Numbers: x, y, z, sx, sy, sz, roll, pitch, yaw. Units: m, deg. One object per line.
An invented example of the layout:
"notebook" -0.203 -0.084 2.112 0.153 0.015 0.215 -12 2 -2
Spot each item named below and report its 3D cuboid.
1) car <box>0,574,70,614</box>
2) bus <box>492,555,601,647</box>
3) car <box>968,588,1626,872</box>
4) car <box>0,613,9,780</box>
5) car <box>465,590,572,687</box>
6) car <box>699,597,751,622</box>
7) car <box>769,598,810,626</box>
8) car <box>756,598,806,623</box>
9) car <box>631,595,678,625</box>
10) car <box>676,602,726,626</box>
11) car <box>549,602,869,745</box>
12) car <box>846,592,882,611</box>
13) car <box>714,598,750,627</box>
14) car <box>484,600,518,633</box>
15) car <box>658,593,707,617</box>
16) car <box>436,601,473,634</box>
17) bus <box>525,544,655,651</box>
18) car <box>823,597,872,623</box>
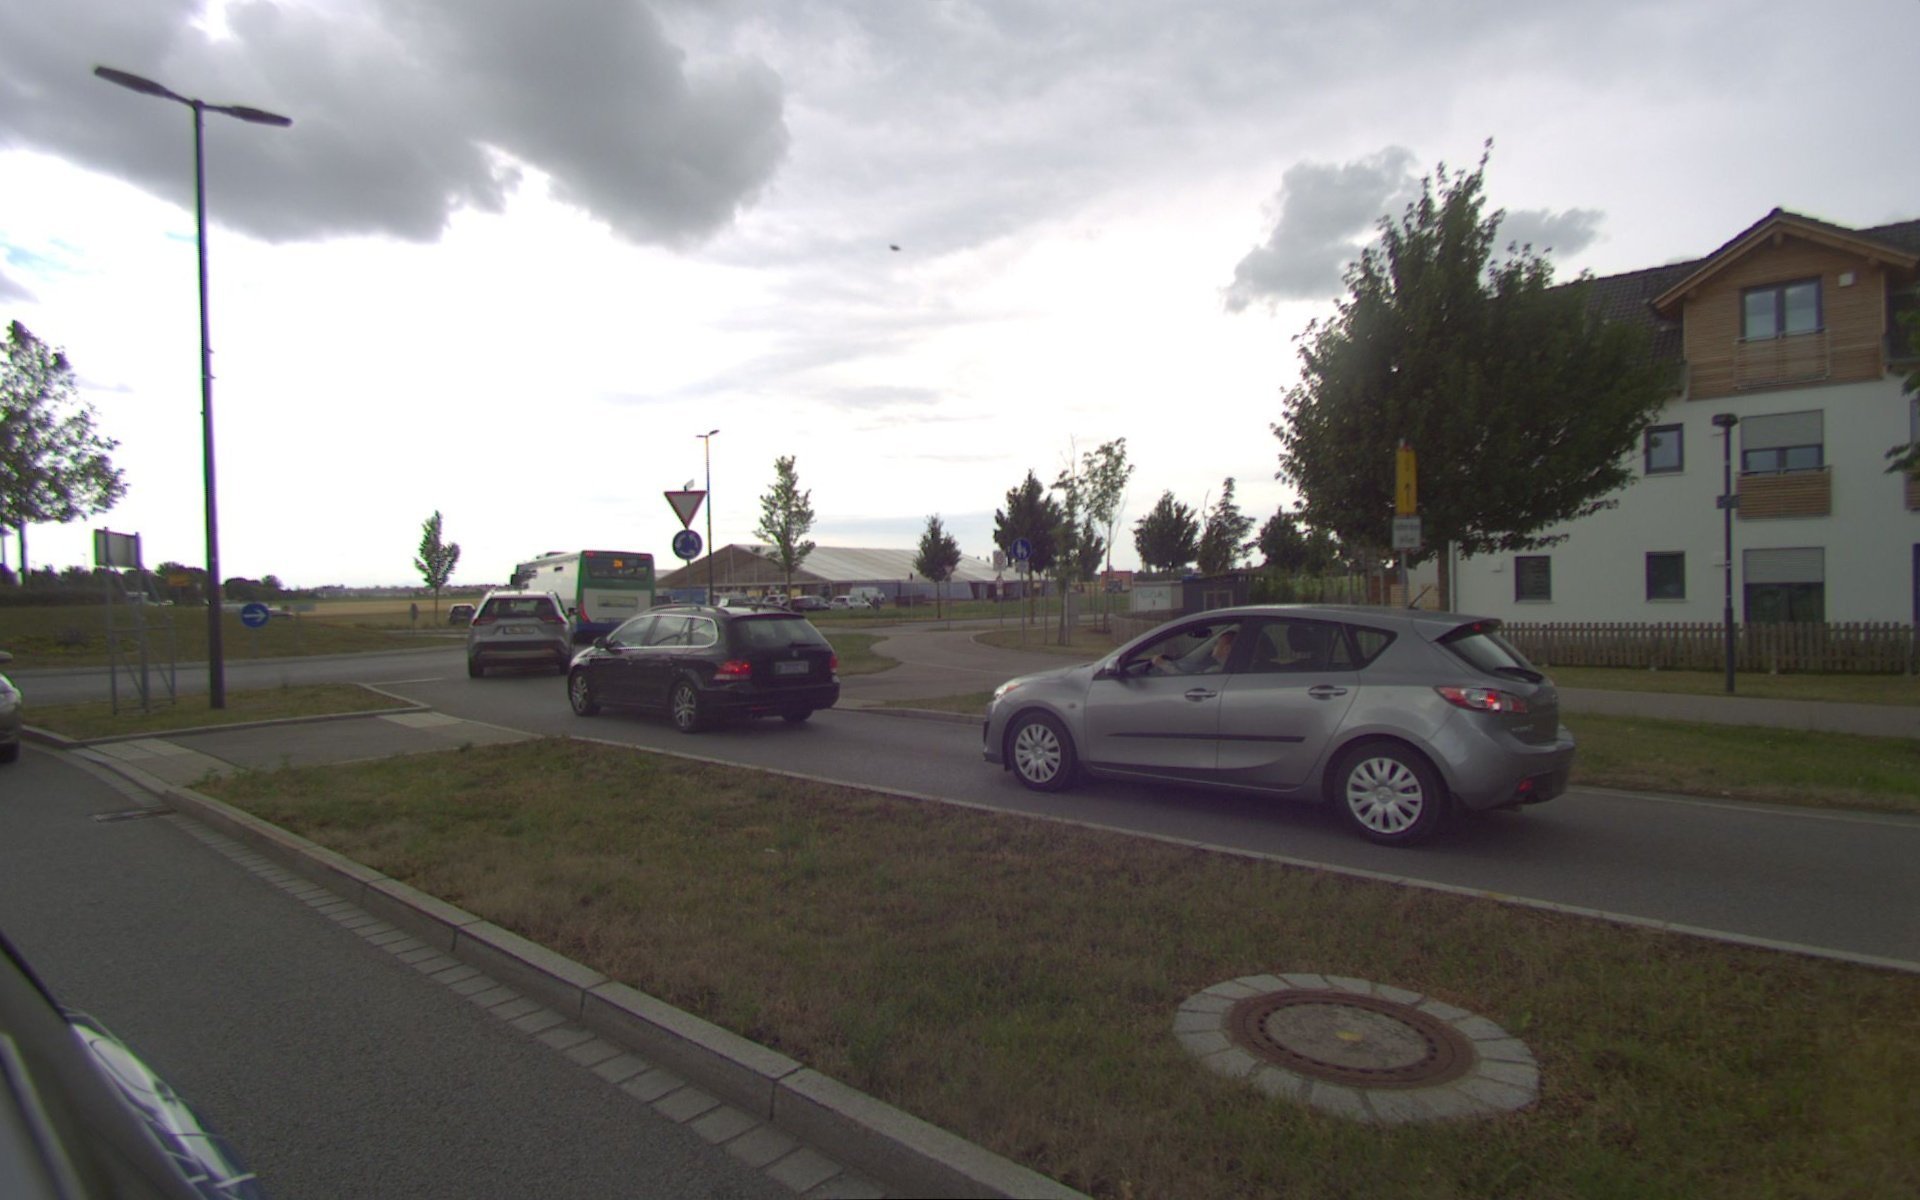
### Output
"car" -41.683 -0.218 44.634 1.967 1.697 4.010 0 -1 -13
"bus" -16.561 0.085 40.260 2.943 3.305 6.721 0 -1 -32
"car" 2.242 0.719 7.414 4.213 1.500 1.807 -1 -1 41
"car" -10.547 0.875 9.852 4.001 1.477 1.678 0 0 44
"car" -8.994 0.681 20.570 1.800 1.735 4.414 0 0 -25
"car" -19.241 0.802 82.911 1.993 2.029 3.957 -1 -1 32
"car" -12.504 0.873 74.099 2.194 2.029 4.013 0 -1 -22
"car" -14.521 0.861 82.178 1.991 2.029 3.962 -1 -1 28
"car" -20.727 0.688 68.638 1.967 2.029 4.010 0 -1 -34
"car" -21.743 1.173 85.037 1.991 2.029 3.962 -1 -1 28
"car" -3.284 0.801 12.721 4.336 1.500 1.806 -1 -1 42
"car" -10.854 0.201 114.604 1.991 2.029 4.524 -1 -1 28
"car" -16.608 0.893 73.612 1.965 2.029 4.013 0 -1 -22
"car" -29.688 1.061 65.435 1.965 2.029 4.013 0 -1 -25
"car" -24.213 0.432 88.444 1.991 2.029 3.962 -1 -1 28
"car" -32.192 1.138 64.520 1.965 2.029 4.013 0 -1 -25
"bus" -12.816 -0.017 34.738 2.943 3.305 6.503 0 -1 -32
"car" -8.847 0.794 79.921 1.991 2.029 3.962 -1 -1 28
